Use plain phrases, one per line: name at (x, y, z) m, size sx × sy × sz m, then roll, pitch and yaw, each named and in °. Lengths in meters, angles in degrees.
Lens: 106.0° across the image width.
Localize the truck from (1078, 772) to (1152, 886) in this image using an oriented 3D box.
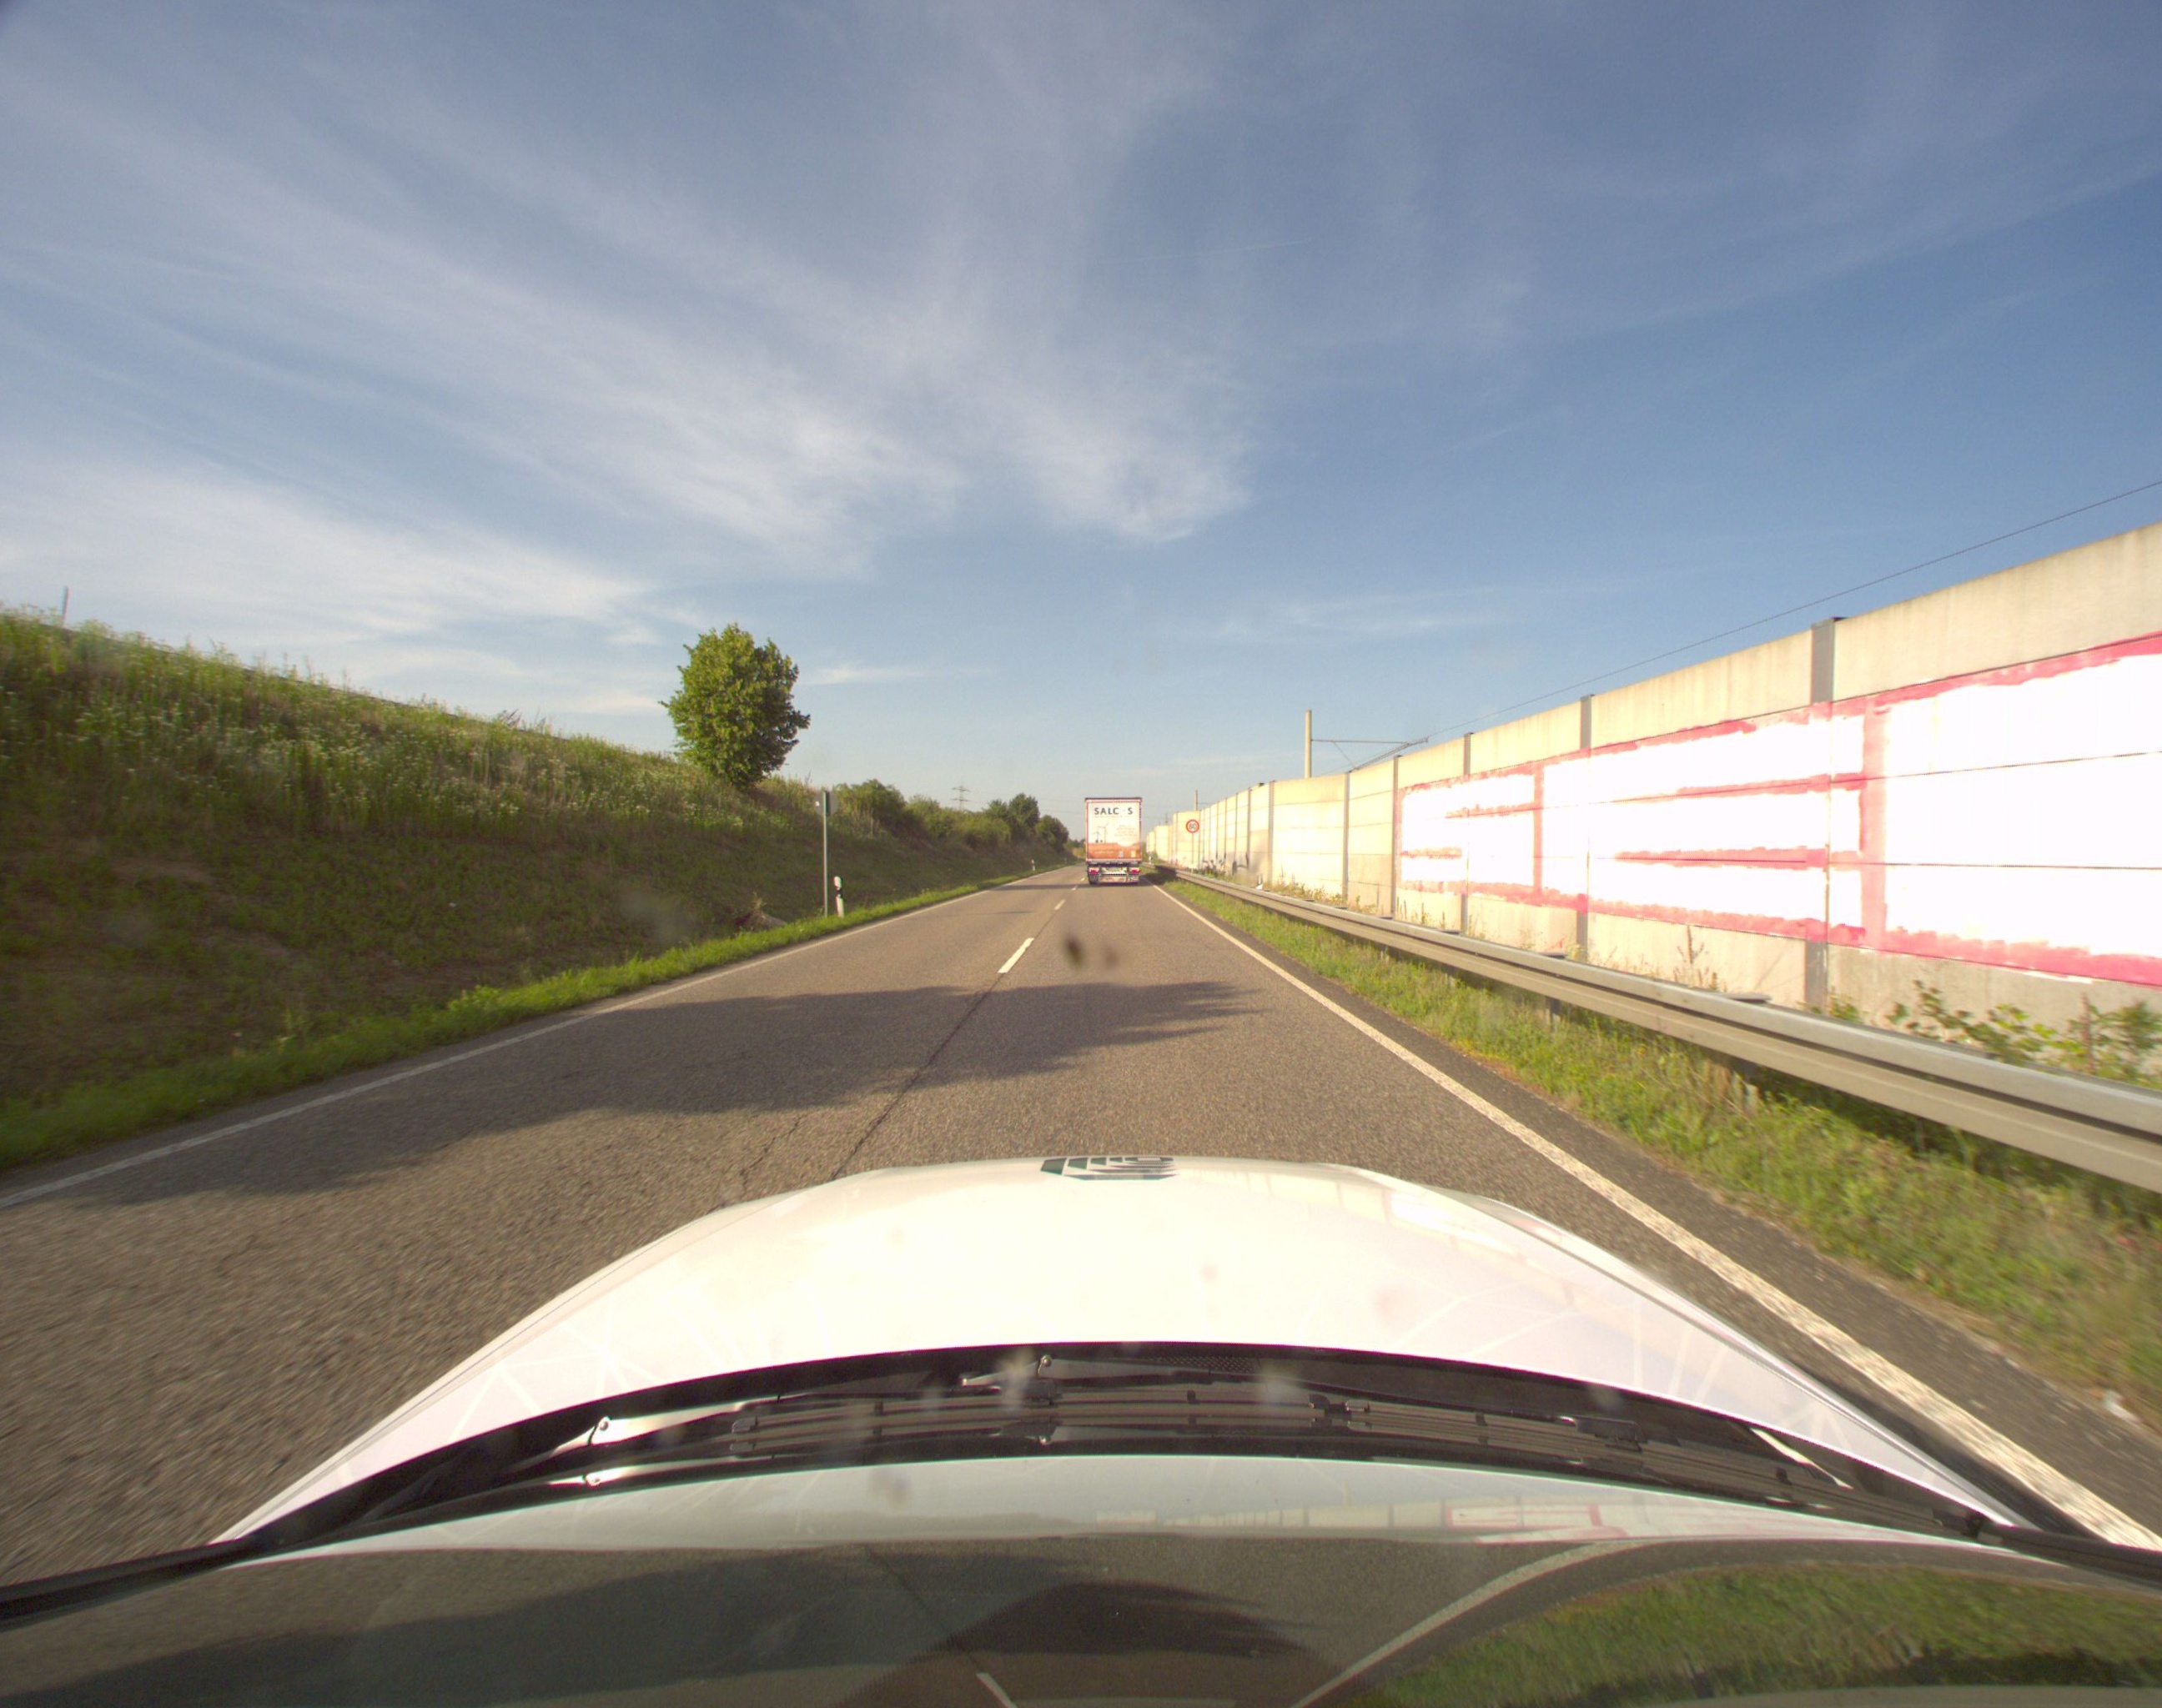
truck at (1.568, -1.162, 42.807) m, size 3.280 × 5.090 × 12.037 m, roll 0°, pitch 0°, yaw 0°
